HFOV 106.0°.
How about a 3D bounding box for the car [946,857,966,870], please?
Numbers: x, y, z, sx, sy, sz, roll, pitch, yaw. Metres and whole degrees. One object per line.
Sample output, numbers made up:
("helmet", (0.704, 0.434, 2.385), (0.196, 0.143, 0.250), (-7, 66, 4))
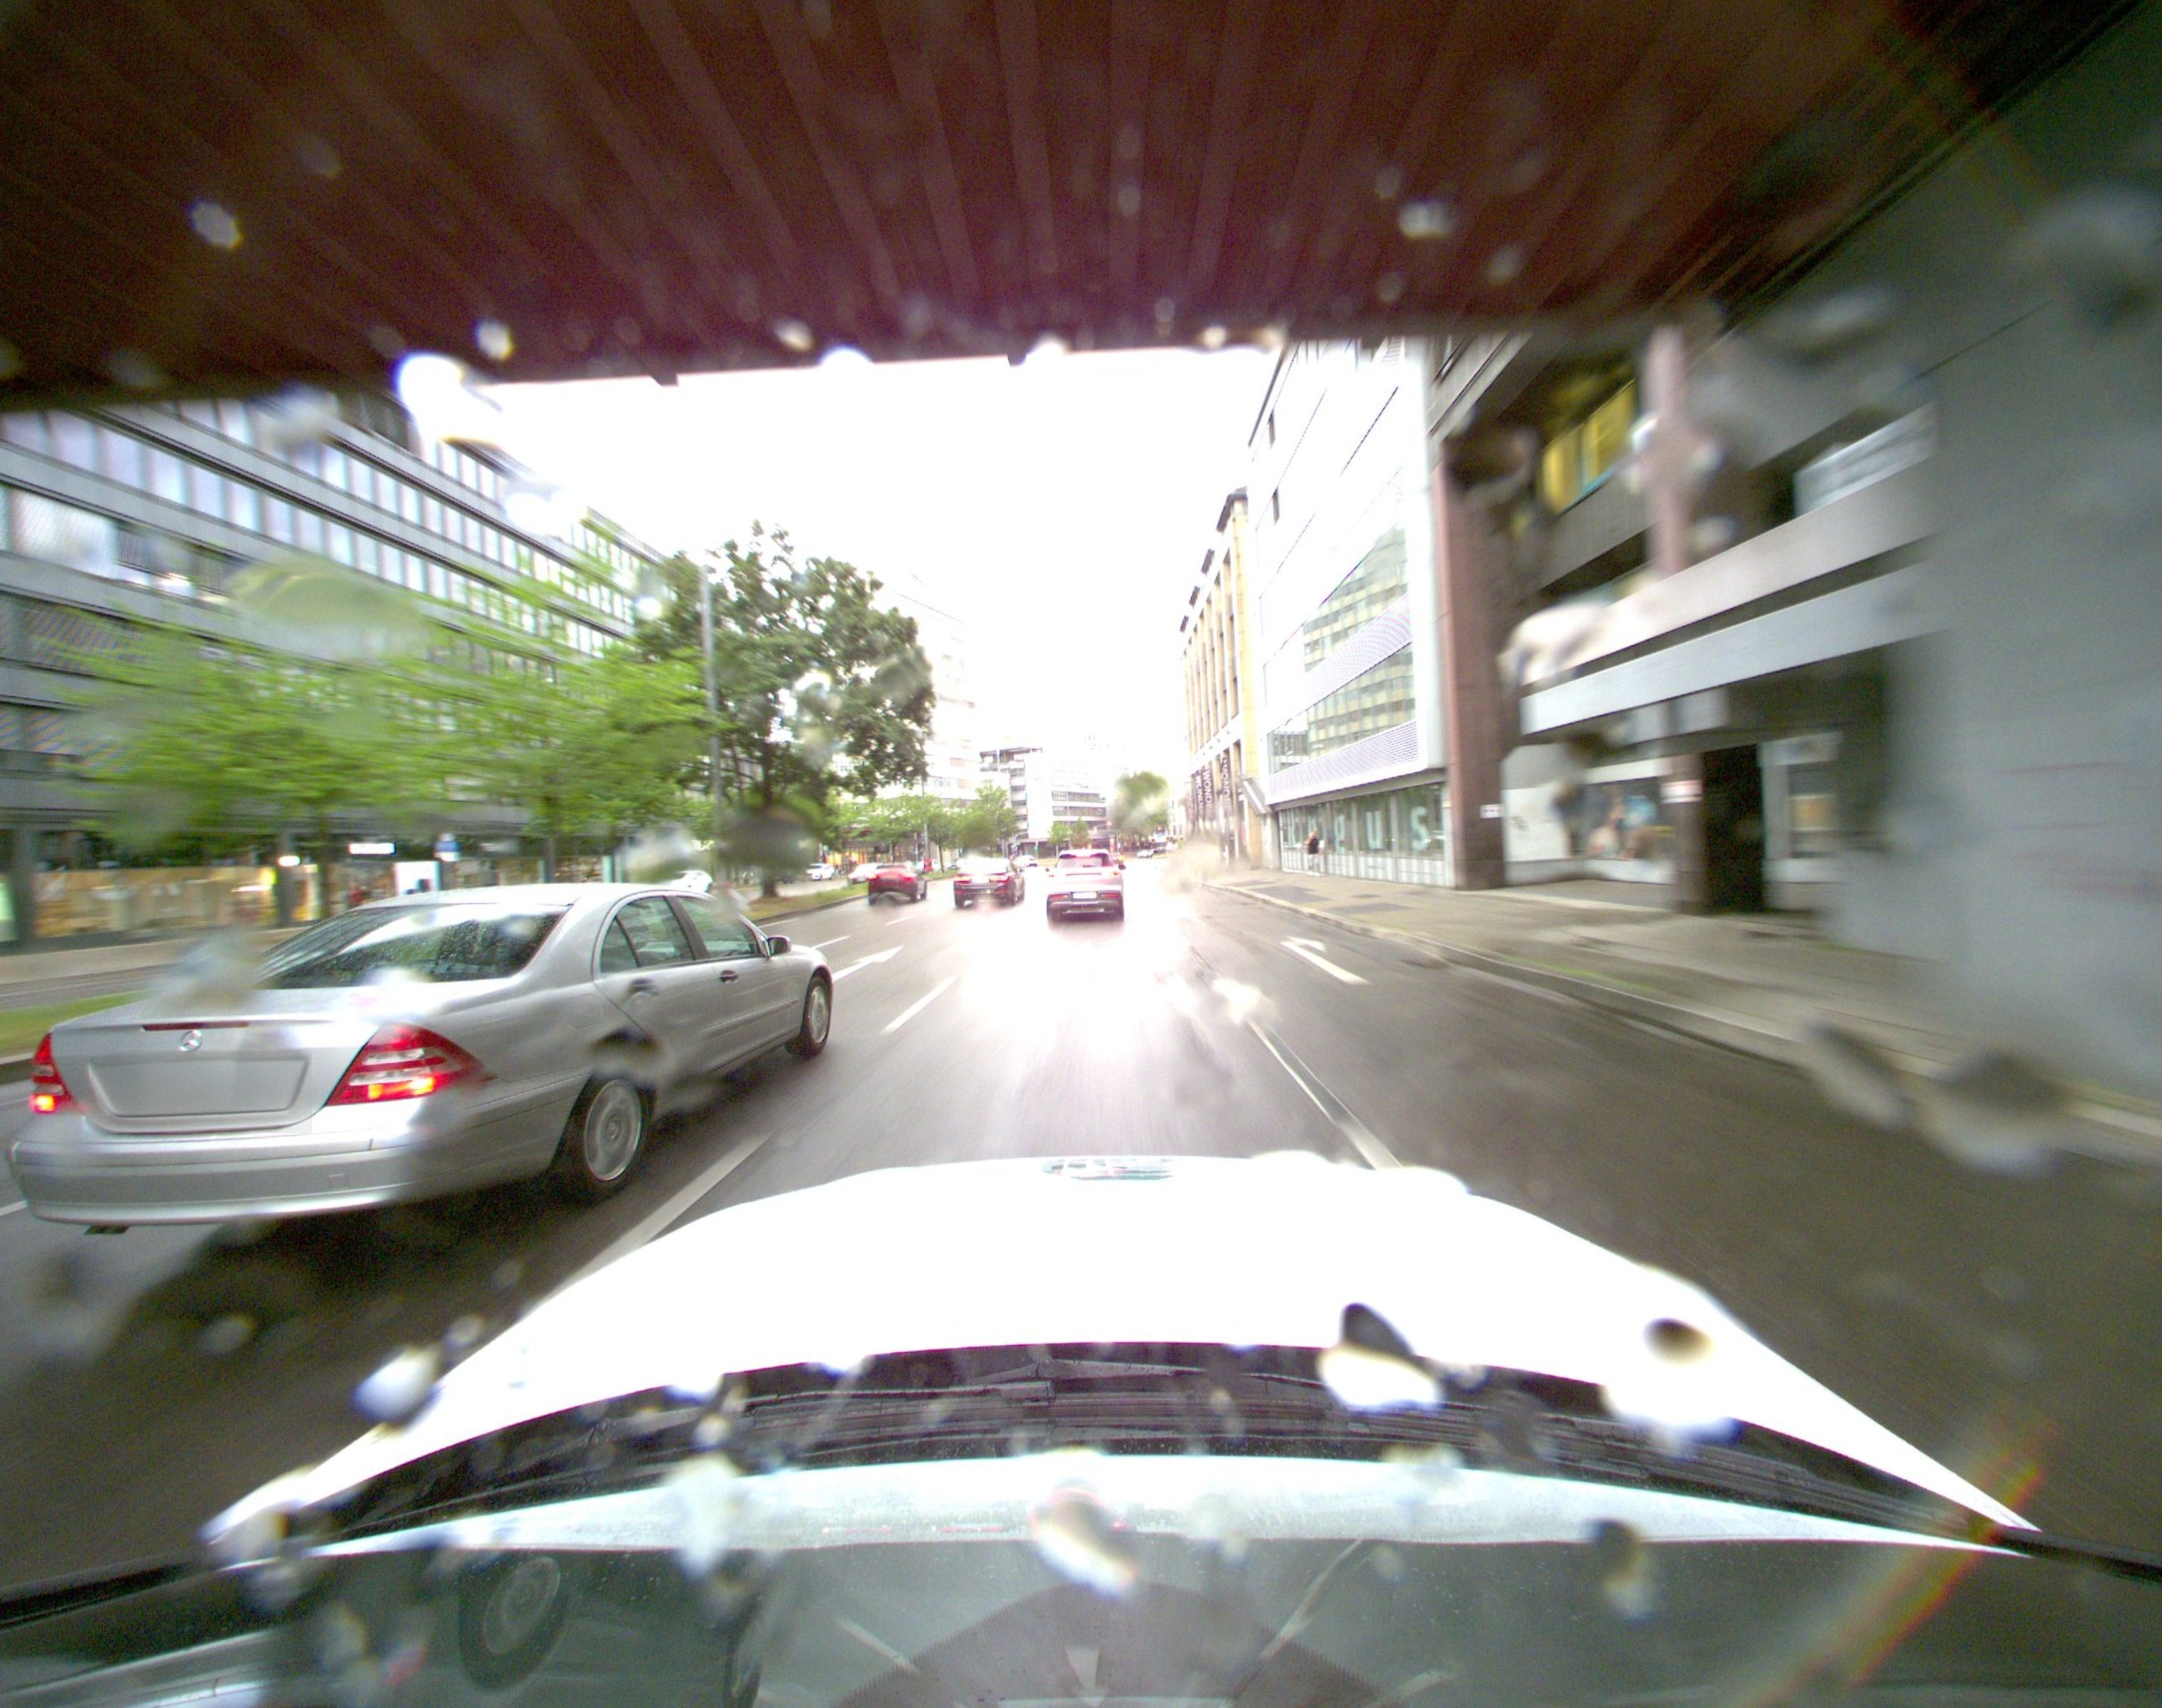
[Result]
("car", (-15.333, 1.156, 100.006), (1.617, 1.453, 4.165), (-3, -1, 3))

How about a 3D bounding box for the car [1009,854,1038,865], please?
("car", (-7.407, 0.712, 104.633), (1.668, 1.342, 3.951), (-2, 0, -43))

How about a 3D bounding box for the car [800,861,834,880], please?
("car", (-22.708, 1.375, 70.083), (1.618, 1.460, 3.962), (-2, 0, 0))

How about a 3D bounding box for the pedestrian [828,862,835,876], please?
("pedestrian", (-28.399, 1.693, 92.742), (0.606, 1.503, 0.432), (-2, 0, -37))

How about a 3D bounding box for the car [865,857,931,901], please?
("car", (-6.834, 0.915, 30.816), (1.770, 1.457, 3.994), (-3, -1, -4))

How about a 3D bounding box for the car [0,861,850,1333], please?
("car", (-2.901, 0.814, 4.834), (1.666, 1.479, 4.362), (-2, 0, 2))

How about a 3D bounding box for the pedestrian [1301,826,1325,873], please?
("pedestrian", (9.143, -0.167, 32.108), (0.633, 1.772, 0.790), (-3, -1, 1))

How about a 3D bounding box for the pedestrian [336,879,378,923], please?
("pedestrian", (-30.147, 1.948, 33.934), (0.740, 1.715, 1.057), (-3, 0, 0))

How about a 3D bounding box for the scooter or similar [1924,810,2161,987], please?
("scooter or similar", (7.687, 0.314, 6.545), (0.348, 1.255, 1.395), (-2, 0, 1))

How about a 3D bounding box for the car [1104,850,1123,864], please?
("car", (3.945, 0.338, 98.693), (1.802, 1.578, 4.009), (-2, 0, 8))

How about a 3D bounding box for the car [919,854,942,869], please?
("car", (-16.027, 0.812, 87.018), (1.618, 1.492, 4.305), (-3, -1, 0))

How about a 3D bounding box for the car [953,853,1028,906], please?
("car", (-2.886, 0.764, 26.949), (1.866, 1.479, 4.877), (-3, 0, 0))

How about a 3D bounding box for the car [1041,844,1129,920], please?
("car", (0.129, 0.618, 20.056), (1.894, 1.621, 4.001), (-2, 0, 1))

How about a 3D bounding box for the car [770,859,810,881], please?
("car", (-22.838, 1.231, 64.022), (1.618, 1.611, 4.231), (-2, 0, 0))

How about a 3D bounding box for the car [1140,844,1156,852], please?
("car", (13.841, -1.178, 168.422), (1.565, 1.538, 4.026), (-2, 0, 32))

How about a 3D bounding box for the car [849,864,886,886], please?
("car", (-14.317, 1.376, 54.853), (1.619, 1.311, 3.614), (-3, -1, -2))

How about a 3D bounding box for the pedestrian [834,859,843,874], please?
("pedestrian", (-29.521, 1.524, 99.120), (0.757, 1.713, 0.587), (-2, 0, -37))

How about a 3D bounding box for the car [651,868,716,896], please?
("car", (-23.101, 1.597, 47.512), (1.618, 1.432, 4.444), (-3, -1, 0))
